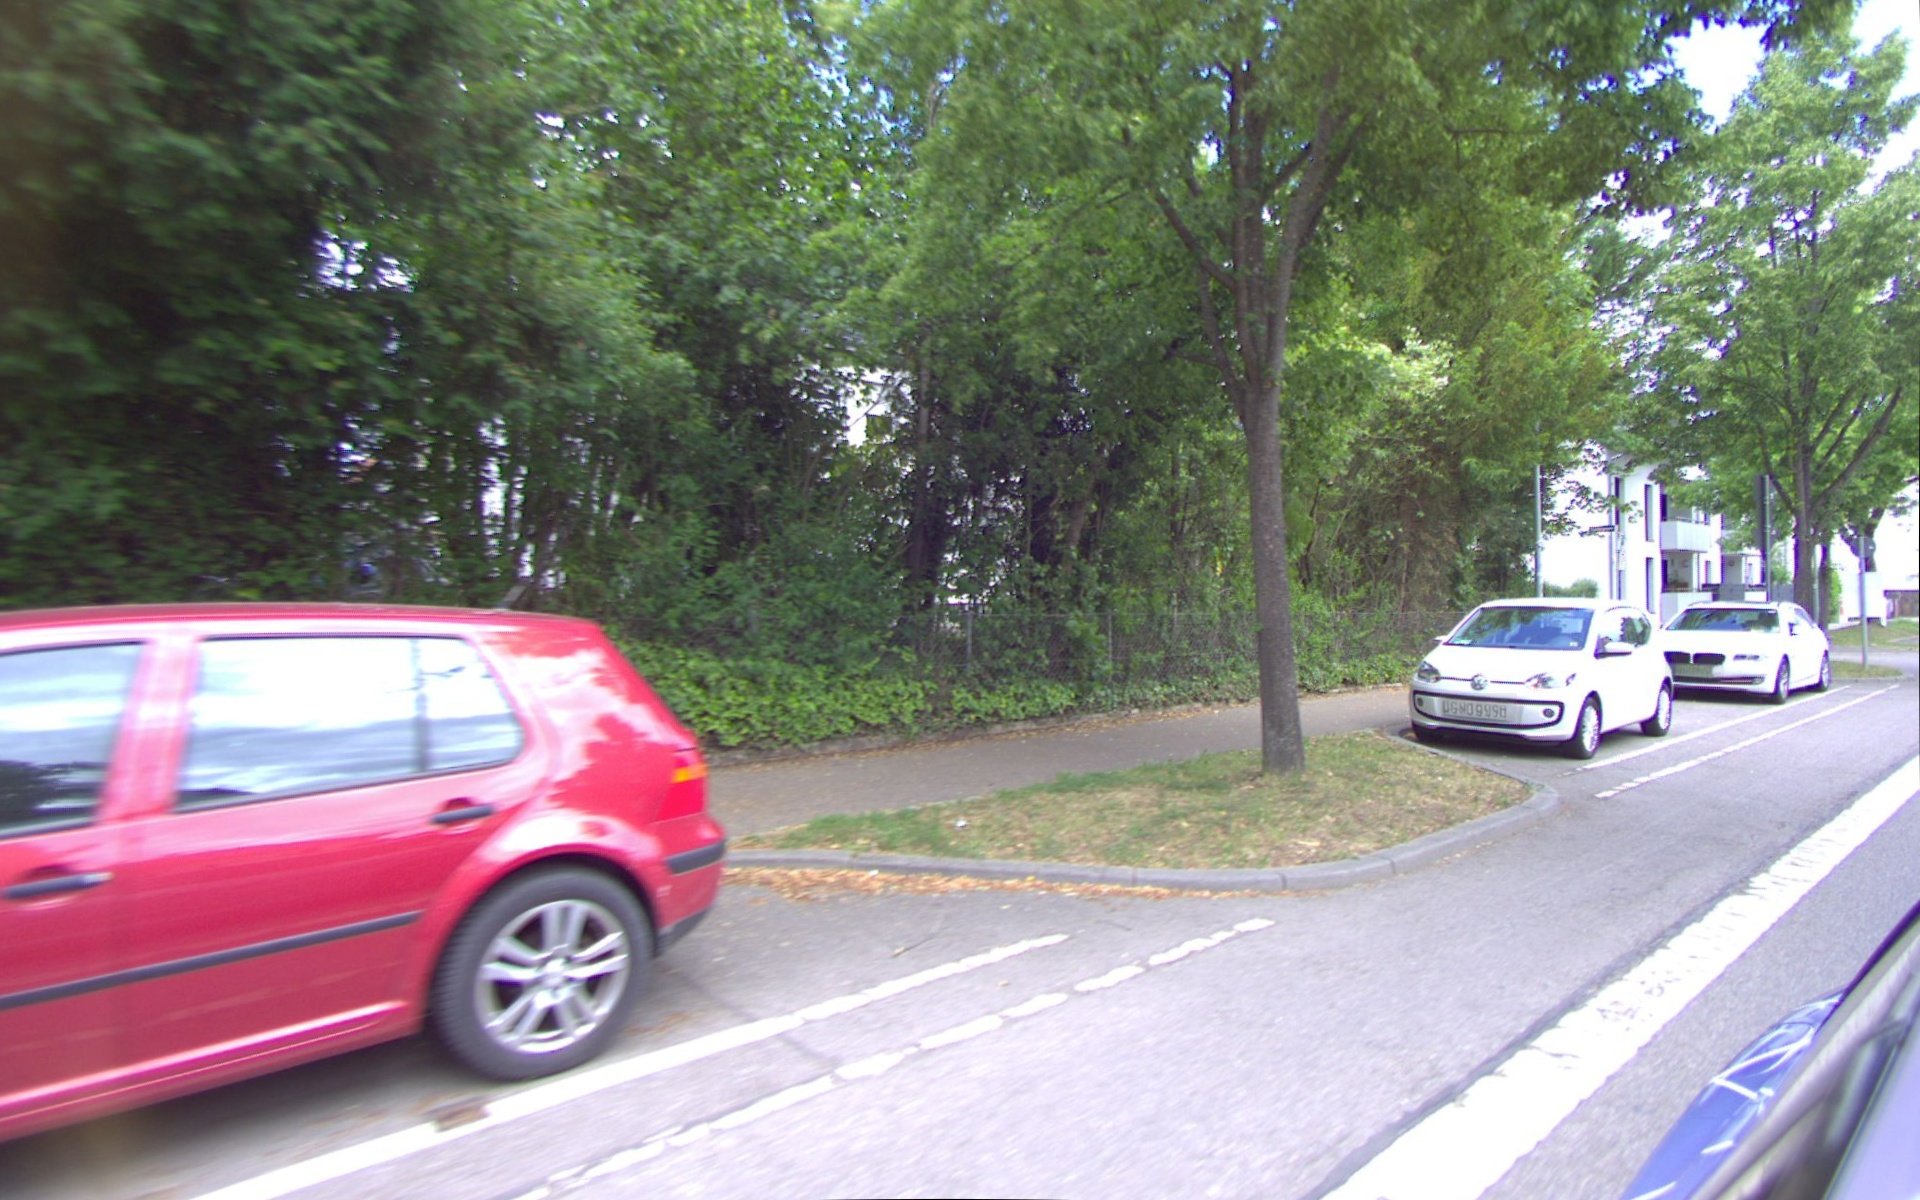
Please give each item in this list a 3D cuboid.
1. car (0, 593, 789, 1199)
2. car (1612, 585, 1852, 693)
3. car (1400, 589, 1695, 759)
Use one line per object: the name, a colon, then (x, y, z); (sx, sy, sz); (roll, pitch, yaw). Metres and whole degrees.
car: (-2.629, 0.706, 2.917); (3.928, 1.438, 1.642); (0, 1, -39)
car: (12.379, 0.518, 16.106); (4.936, 1.462, 2.025); (0, 0, -40)
car: (6.270, 0.636, 10.661); (3.593, 1.478, 1.618); (0, 1, -41)
